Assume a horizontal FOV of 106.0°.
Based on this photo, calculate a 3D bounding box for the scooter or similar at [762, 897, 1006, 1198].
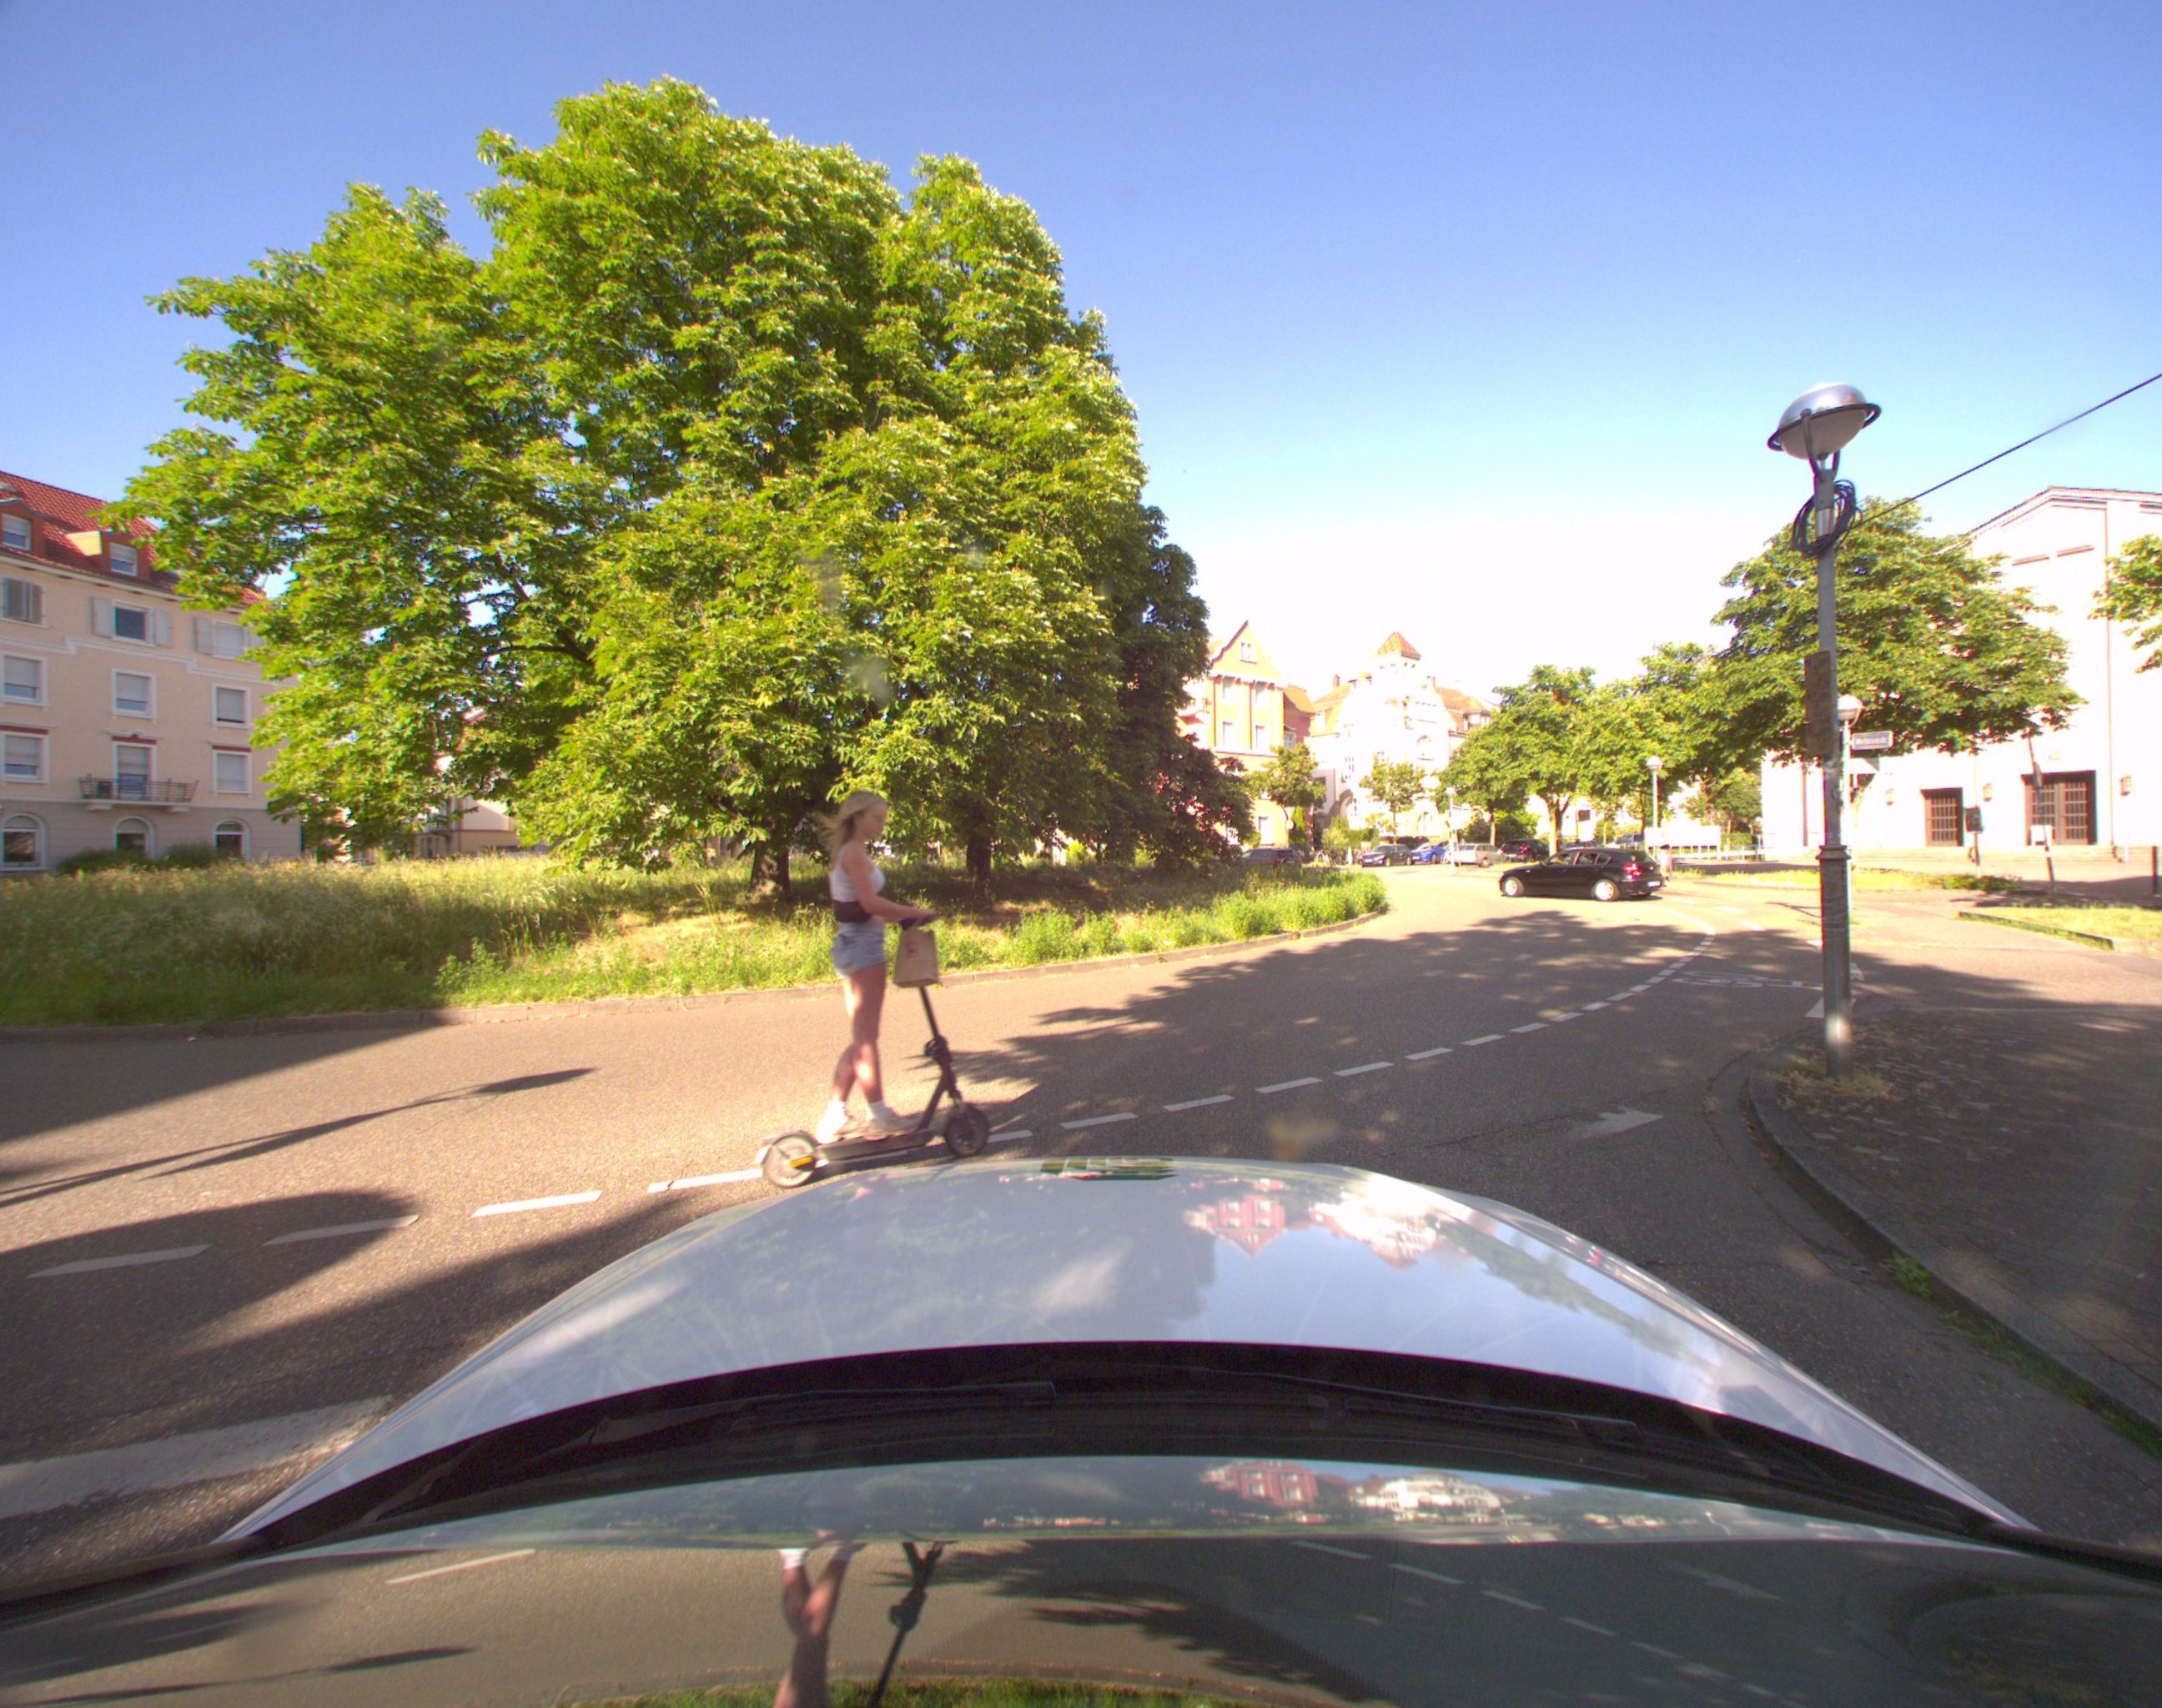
[{"bbox_3d":[-1.024,0.902,4.191,1.107,1.283,0.627,-1,0,-24],"label":"scooter or similar"}]

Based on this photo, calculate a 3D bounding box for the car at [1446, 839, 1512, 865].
[{"bbox_3d":[23.228,-0.165,47.451,4.360,1.415,1.789,-1,1,-40],"label":"car"}]

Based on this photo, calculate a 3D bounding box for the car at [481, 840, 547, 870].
[{"bbox_3d":[-39.274,0.069,56.365,4.502,1.909,2.155,-1,0,33],"label":"car"}]

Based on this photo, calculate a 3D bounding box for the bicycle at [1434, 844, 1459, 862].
[{"bbox_3d":[24.589,-0.070,54.786,1.871,1.107,0.589,-1,-1,-34],"label":"bicycle"}]

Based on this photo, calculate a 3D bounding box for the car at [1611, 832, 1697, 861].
[{"bbox_3d":[41.280,-0.571,58.754,1.819,2.001,4.724,-1,1,-39],"label":"car"}]

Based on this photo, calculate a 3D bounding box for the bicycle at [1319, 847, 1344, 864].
[{"bbox_3d":[17.363,0.108,56.496,0.548,1.115,1.709,-1,2,-34],"label":"bicycle"}]

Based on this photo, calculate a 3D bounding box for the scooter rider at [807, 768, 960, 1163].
[{"bbox_3d":[-1.029,0.511,4.183,0.632,1.832,0.620,-1,0,-24],"label":"scooter rider"}]

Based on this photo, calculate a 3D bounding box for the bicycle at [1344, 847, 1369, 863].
[{"bbox_3d":[19.664,0.065,58.212,0.503,1.107,1.707,-1,2,-38],"label":"bicycle"}]

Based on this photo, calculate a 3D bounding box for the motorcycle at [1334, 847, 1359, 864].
[{"bbox_3d":[18.676,0.094,57.297,0.503,1.107,1.706,-2,2,-41],"label":"motorcycle"}]

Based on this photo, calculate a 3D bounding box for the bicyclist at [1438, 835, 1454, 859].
[{"bbox_3d":[24.573,-0.444,54.784,0.807,1.581,0.589,-1,-1,-34],"label":"bicyclist"}]

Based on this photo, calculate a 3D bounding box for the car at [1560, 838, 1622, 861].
[{"bbox_3d":[34.243,-0.345,54.626,4.353,1.473,1.792,-1,1,-32],"label":"car"}]

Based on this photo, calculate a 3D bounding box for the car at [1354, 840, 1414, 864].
[{"bbox_3d":[20.442,-0.135,54.845,4.361,1.483,1.788,-2,-2,-40],"label":"car"}]

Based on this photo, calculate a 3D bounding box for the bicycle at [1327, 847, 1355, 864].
[{"bbox_3d":[18.132,0.091,56.914,1.806,1.107,0.504,1,2,40],"label":"bicycle"}]

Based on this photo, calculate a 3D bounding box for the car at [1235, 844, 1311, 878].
[{"bbox_3d":[9.360,0.328,39.990,1.828,1.532,3.975,-1,0,-18],"label":"car"}]

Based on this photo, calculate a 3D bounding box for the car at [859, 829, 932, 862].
[{"bbox_3d":[-15.485,-0.684,67.764,6.294,2.600,2.117,0,0,34],"label":"car"}]

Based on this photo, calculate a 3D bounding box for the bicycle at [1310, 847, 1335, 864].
[{"bbox_3d":[16.568,0.109,55.978,0.548,1.115,1.709,-1,2,-34],"label":"bicycle"}]

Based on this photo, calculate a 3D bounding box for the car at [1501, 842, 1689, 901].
[{"bbox_3d":[13.927,0.436,22.329,1.874,1.419,3.966,-2,1,-26],"label":"car"}]

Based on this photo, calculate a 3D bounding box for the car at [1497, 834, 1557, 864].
[{"bbox_3d":[27.525,-0.326,50.222,4.360,1.728,1.789,-1,1,-40],"label":"car"}]

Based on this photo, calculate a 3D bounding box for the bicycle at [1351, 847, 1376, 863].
[{"bbox_3d":[20.392,0.039,58.743,0.518,1.107,1.707,-1,2,-38],"label":"bicycle"}]

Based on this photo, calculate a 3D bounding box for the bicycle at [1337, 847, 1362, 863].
[{"bbox_3d":[19.036,0.075,57.738,0.503,1.107,1.706,-2,2,-41],"label":"bicycle"}]

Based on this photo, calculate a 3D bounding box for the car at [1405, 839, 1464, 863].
[{"bbox_3d":[25.241,-0.228,58.094,4.418,1.562,1.790,-2,-2,-35],"label":"car"}]

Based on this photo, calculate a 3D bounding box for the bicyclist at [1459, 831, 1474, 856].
[{"bbox_3d":[27.080,-0.752,57.160,0.726,1.714,0.639,-1,-1,-35],"label":"bicyclist"}]
